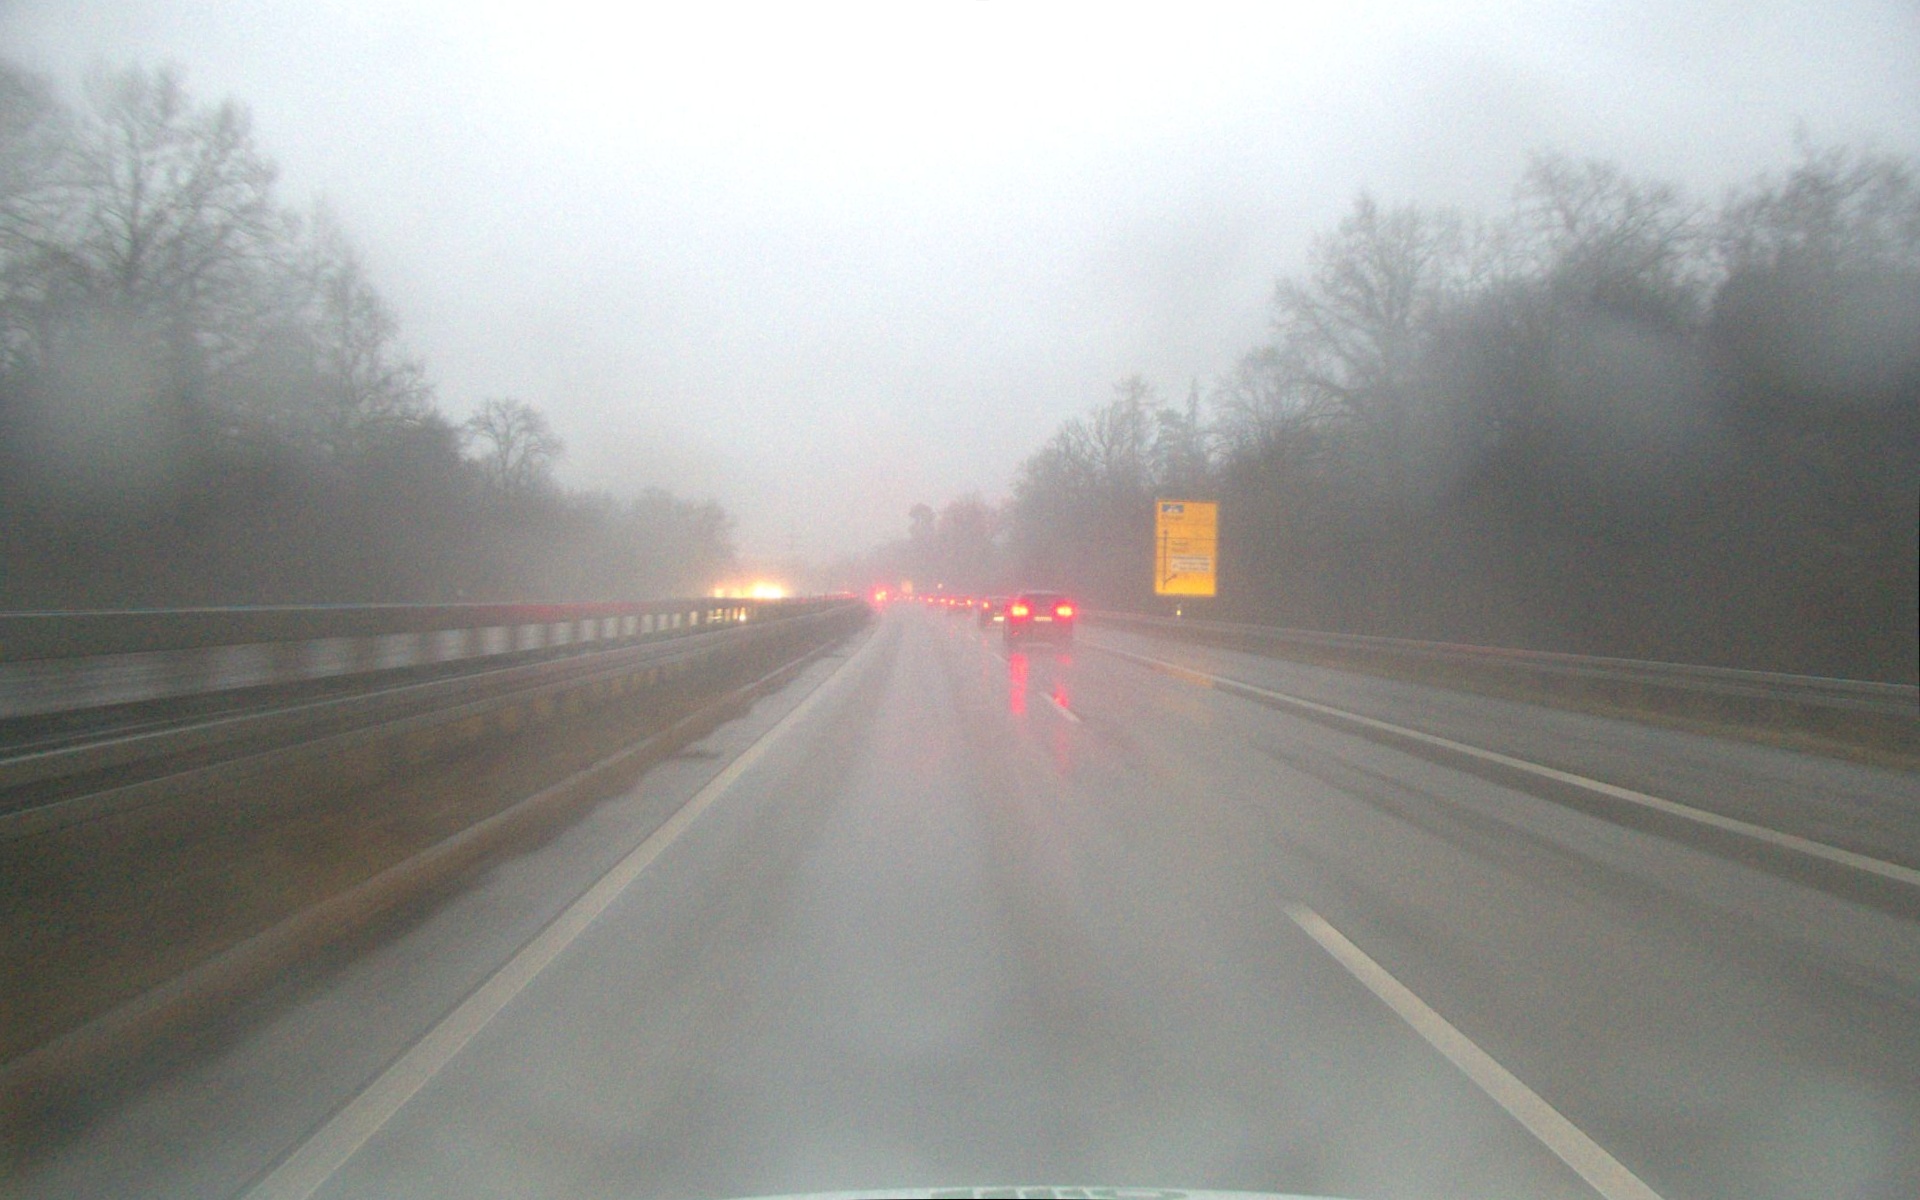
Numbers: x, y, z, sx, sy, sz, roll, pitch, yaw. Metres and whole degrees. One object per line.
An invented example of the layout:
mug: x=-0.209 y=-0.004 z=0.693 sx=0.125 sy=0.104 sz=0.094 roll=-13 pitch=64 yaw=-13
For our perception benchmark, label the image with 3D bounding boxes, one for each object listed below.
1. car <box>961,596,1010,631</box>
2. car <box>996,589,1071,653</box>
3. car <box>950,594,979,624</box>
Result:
car: x=1.095 y=0.603 z=73.958 sx=1.953 sy=1.445 sz=3.998 roll=3 pitch=-1 yaw=-2
car: x=2.076 y=0.599 z=47.602 sx=1.951 sy=1.745 sz=3.829 roll=1 pitch=0 yaw=0
car: x=0.313 y=0.649 z=118.868 sx=1.953 sy=2.049 sz=3.998 roll=1 pitch=0 yaw=-2
